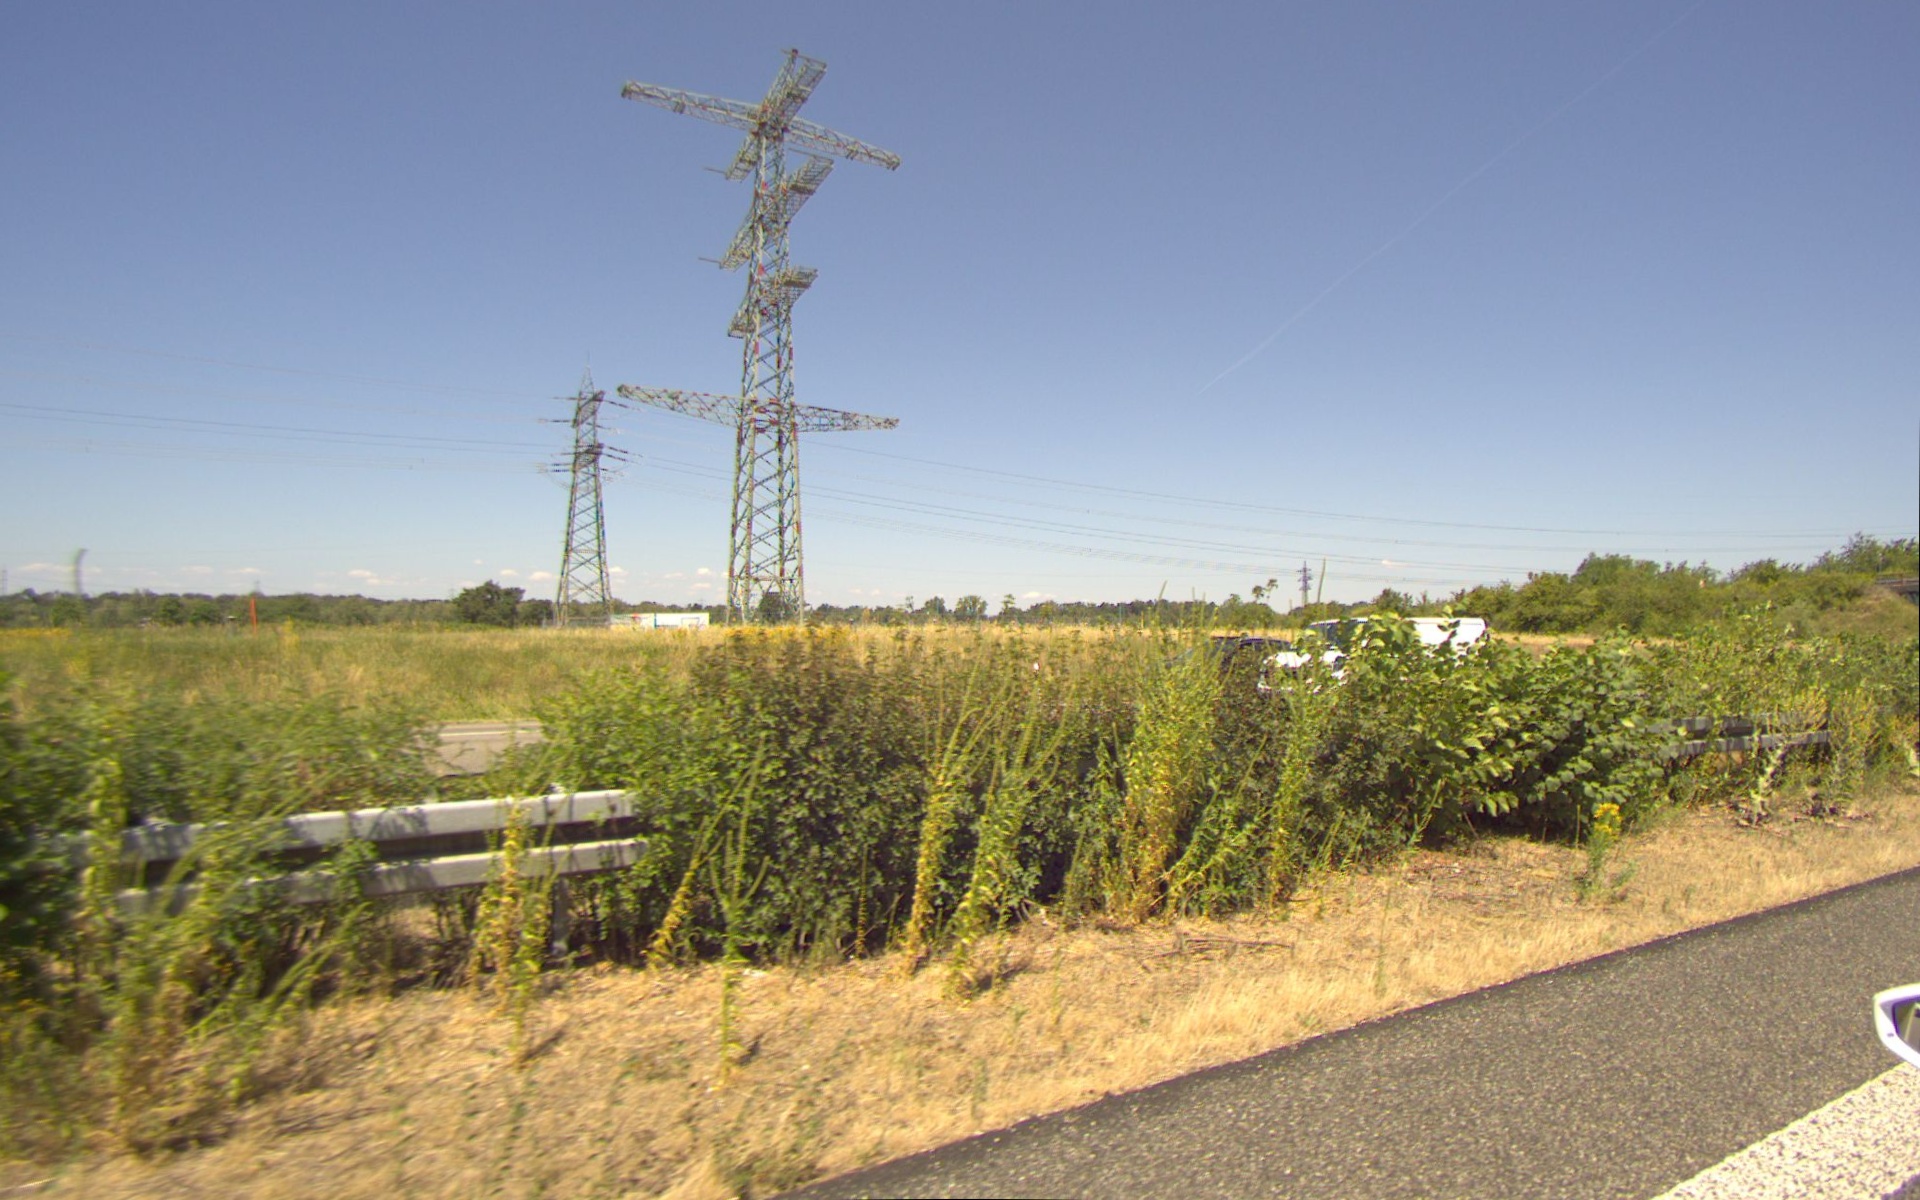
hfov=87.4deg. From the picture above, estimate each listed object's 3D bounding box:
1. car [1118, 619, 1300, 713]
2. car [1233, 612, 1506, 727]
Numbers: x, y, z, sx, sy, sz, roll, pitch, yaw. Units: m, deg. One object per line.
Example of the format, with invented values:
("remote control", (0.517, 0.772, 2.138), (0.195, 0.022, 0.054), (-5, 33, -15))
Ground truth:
("car", (5.815, 1.476, 23.404), (3.940, 2.004, 1.886), (1, -1, -31))
("car", (8.248, 1.295, 20.037), (5.771, 2.013, 1.987), (1, -1, -31))
